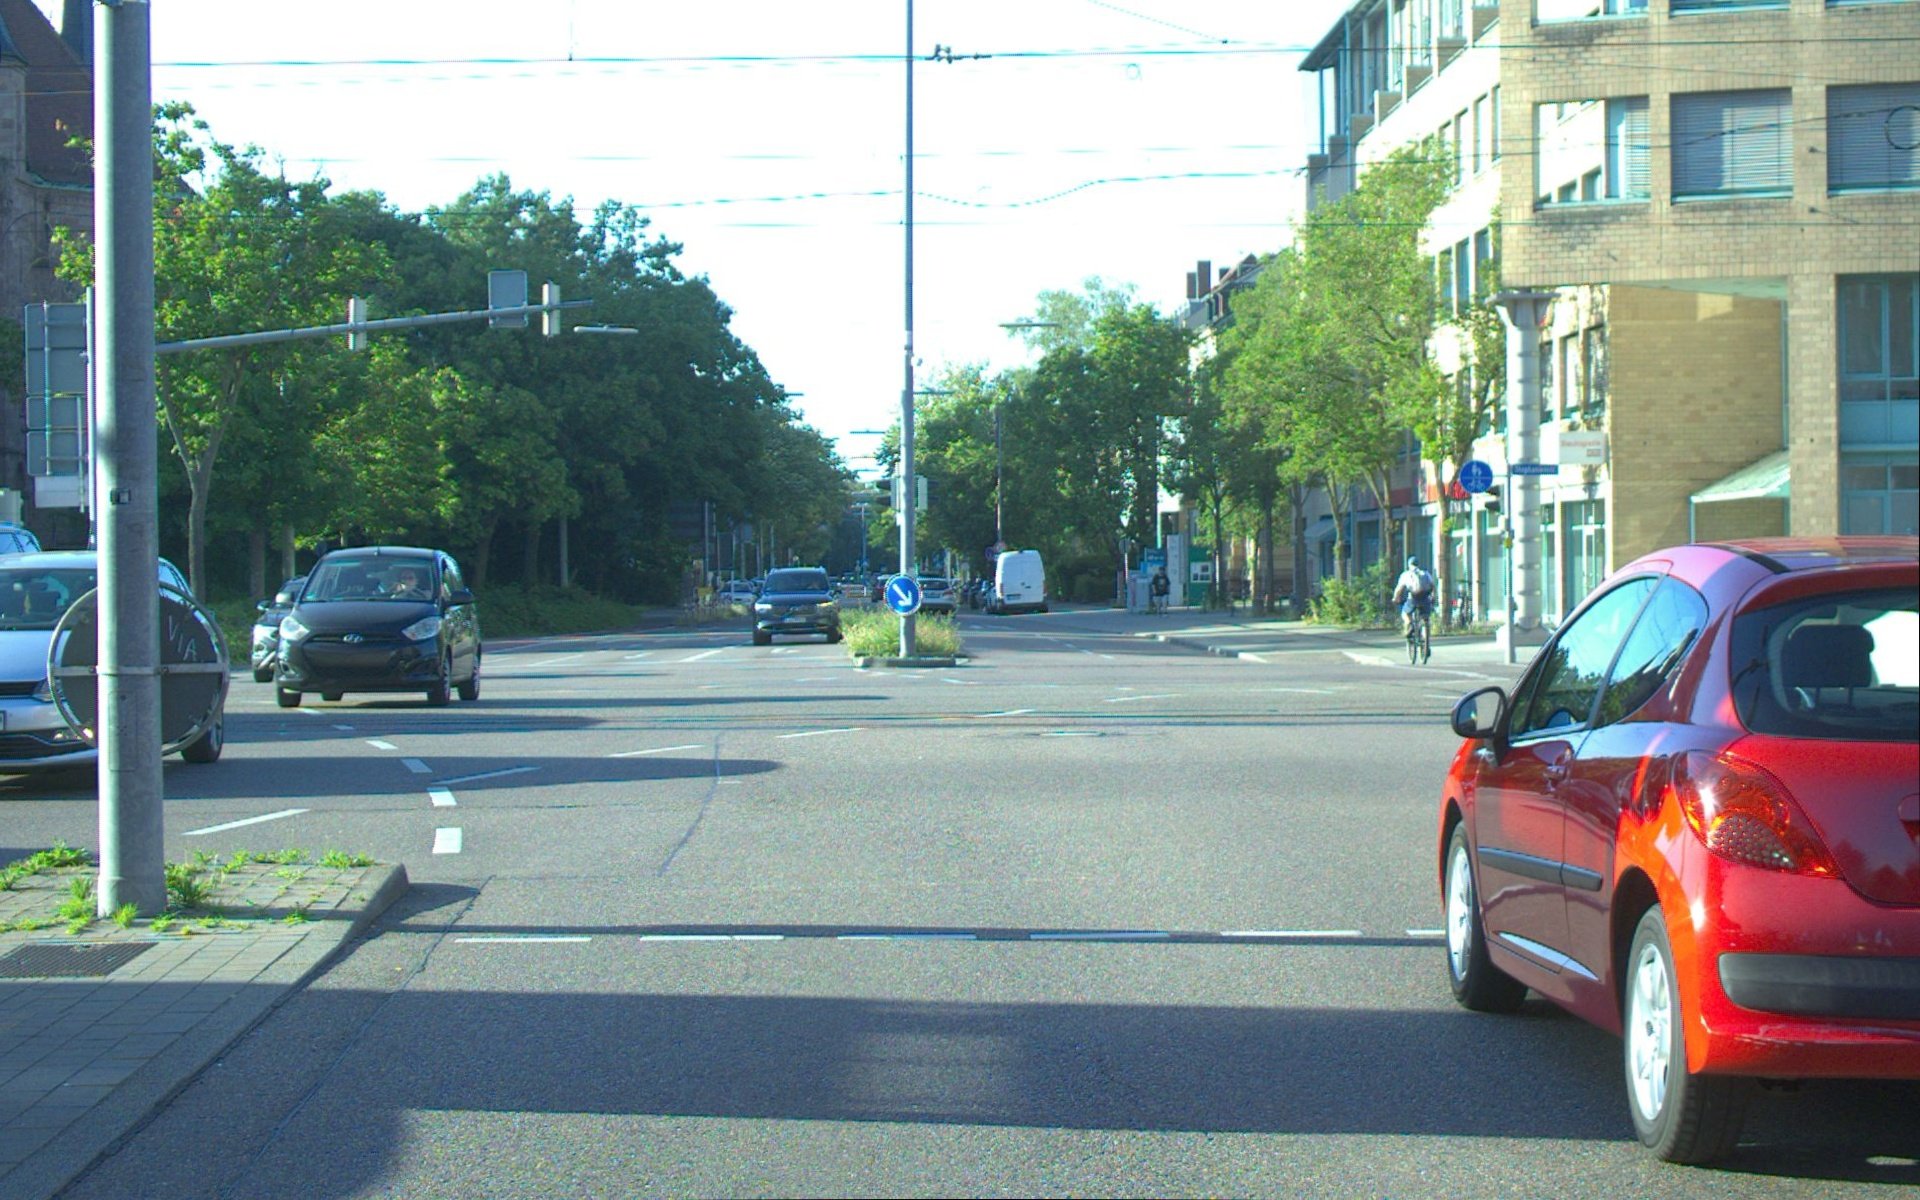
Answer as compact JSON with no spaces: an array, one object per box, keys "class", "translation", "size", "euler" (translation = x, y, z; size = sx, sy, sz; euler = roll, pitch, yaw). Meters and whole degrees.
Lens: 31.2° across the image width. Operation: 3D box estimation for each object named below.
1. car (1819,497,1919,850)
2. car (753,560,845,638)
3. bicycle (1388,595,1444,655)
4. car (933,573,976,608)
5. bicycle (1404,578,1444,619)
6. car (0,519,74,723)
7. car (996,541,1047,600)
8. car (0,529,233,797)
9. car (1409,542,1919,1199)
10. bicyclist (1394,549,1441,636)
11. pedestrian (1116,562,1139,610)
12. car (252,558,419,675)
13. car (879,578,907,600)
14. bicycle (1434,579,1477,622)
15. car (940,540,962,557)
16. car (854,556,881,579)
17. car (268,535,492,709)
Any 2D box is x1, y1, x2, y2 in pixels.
[{"class":"car","translation":[5.318,0.349,15.177],"size":[1.916,1.602,4.270],"euler":[1,1,-1]},{"class":"car","translation":[-3.683,-0.015,79.354],"size":[1.993,1.718,5.031],"euler":[-1,0,-1]},{"class":"bicycle","translation":[7.294,0.397,55.065],"size":[0.592,0.940,1.978],"euler":[1,0,-1]},{"class":"car","translation":[-0.215,-0.364,127.359],"size":[1.594,1.263,3.266],"euler":[0,1,0]},{"class":"bicycle","translation":[11.447,-0.038,84.874],"size":[0.646,0.991,2.081],"euler":[0,0,-1]},{"class":"car","translation":[-8.953,0.199,28.820],"size":[1.816,1.705,4.786],"euler":[-2,1,-1]},{"class":"car","translation":[2.580,-1.237,144.550],"size":[1.993,2.432,4.000],"euler":[1,0,0]},{"class":"car","translation":[-5.890,0.348,21.993],"size":[1.675,1.539,3.806],"euler":[-2,1,-1]},{"class":"car","translation":[2.356,0.598,9.388],"size":[1.670,1.457,4.000],"euler":[1,1,-1]},{"class":"bicyclist","translation":[7.291,-0.110,54.861],"size":[0.592,1.364,0.930],"euler":[1,0,0]},{"class":"pedestrian","translation":[6.369,-0.533,130.759],"size":[0.847,1.797,0.776],"euler":[0,1,-1]},{"class":"car","translation":[-9.229,0.215,51.074],"size":[1.794,1.560,4.148],"euler":[-1,2,-1]},{"class":"car","translation":[-3.989,-0.662,205.071],"size":[1.594,1.263,3.266],"euler":[0,1,0]},{"class":"bicycle","translation":[11.545,0.008,80.132],"size":[0.646,0.991,2.081],"euler":[0,0,-1]},{"class":"car","translation":[-0.660,-3.798,254.994],"size":[1.594,1.263,3.266],"euler":[0,1,0]},{"class":"car","translation":[-6.723,-2.361,251.114],"size":[1.886,1.665,4.000],"euler":[1,1,0]},{"class":"car","translation":[-5.572,0.174,33.372],"size":[1.578,1.539,3.477],"euler":[-2,1,-1]}]
